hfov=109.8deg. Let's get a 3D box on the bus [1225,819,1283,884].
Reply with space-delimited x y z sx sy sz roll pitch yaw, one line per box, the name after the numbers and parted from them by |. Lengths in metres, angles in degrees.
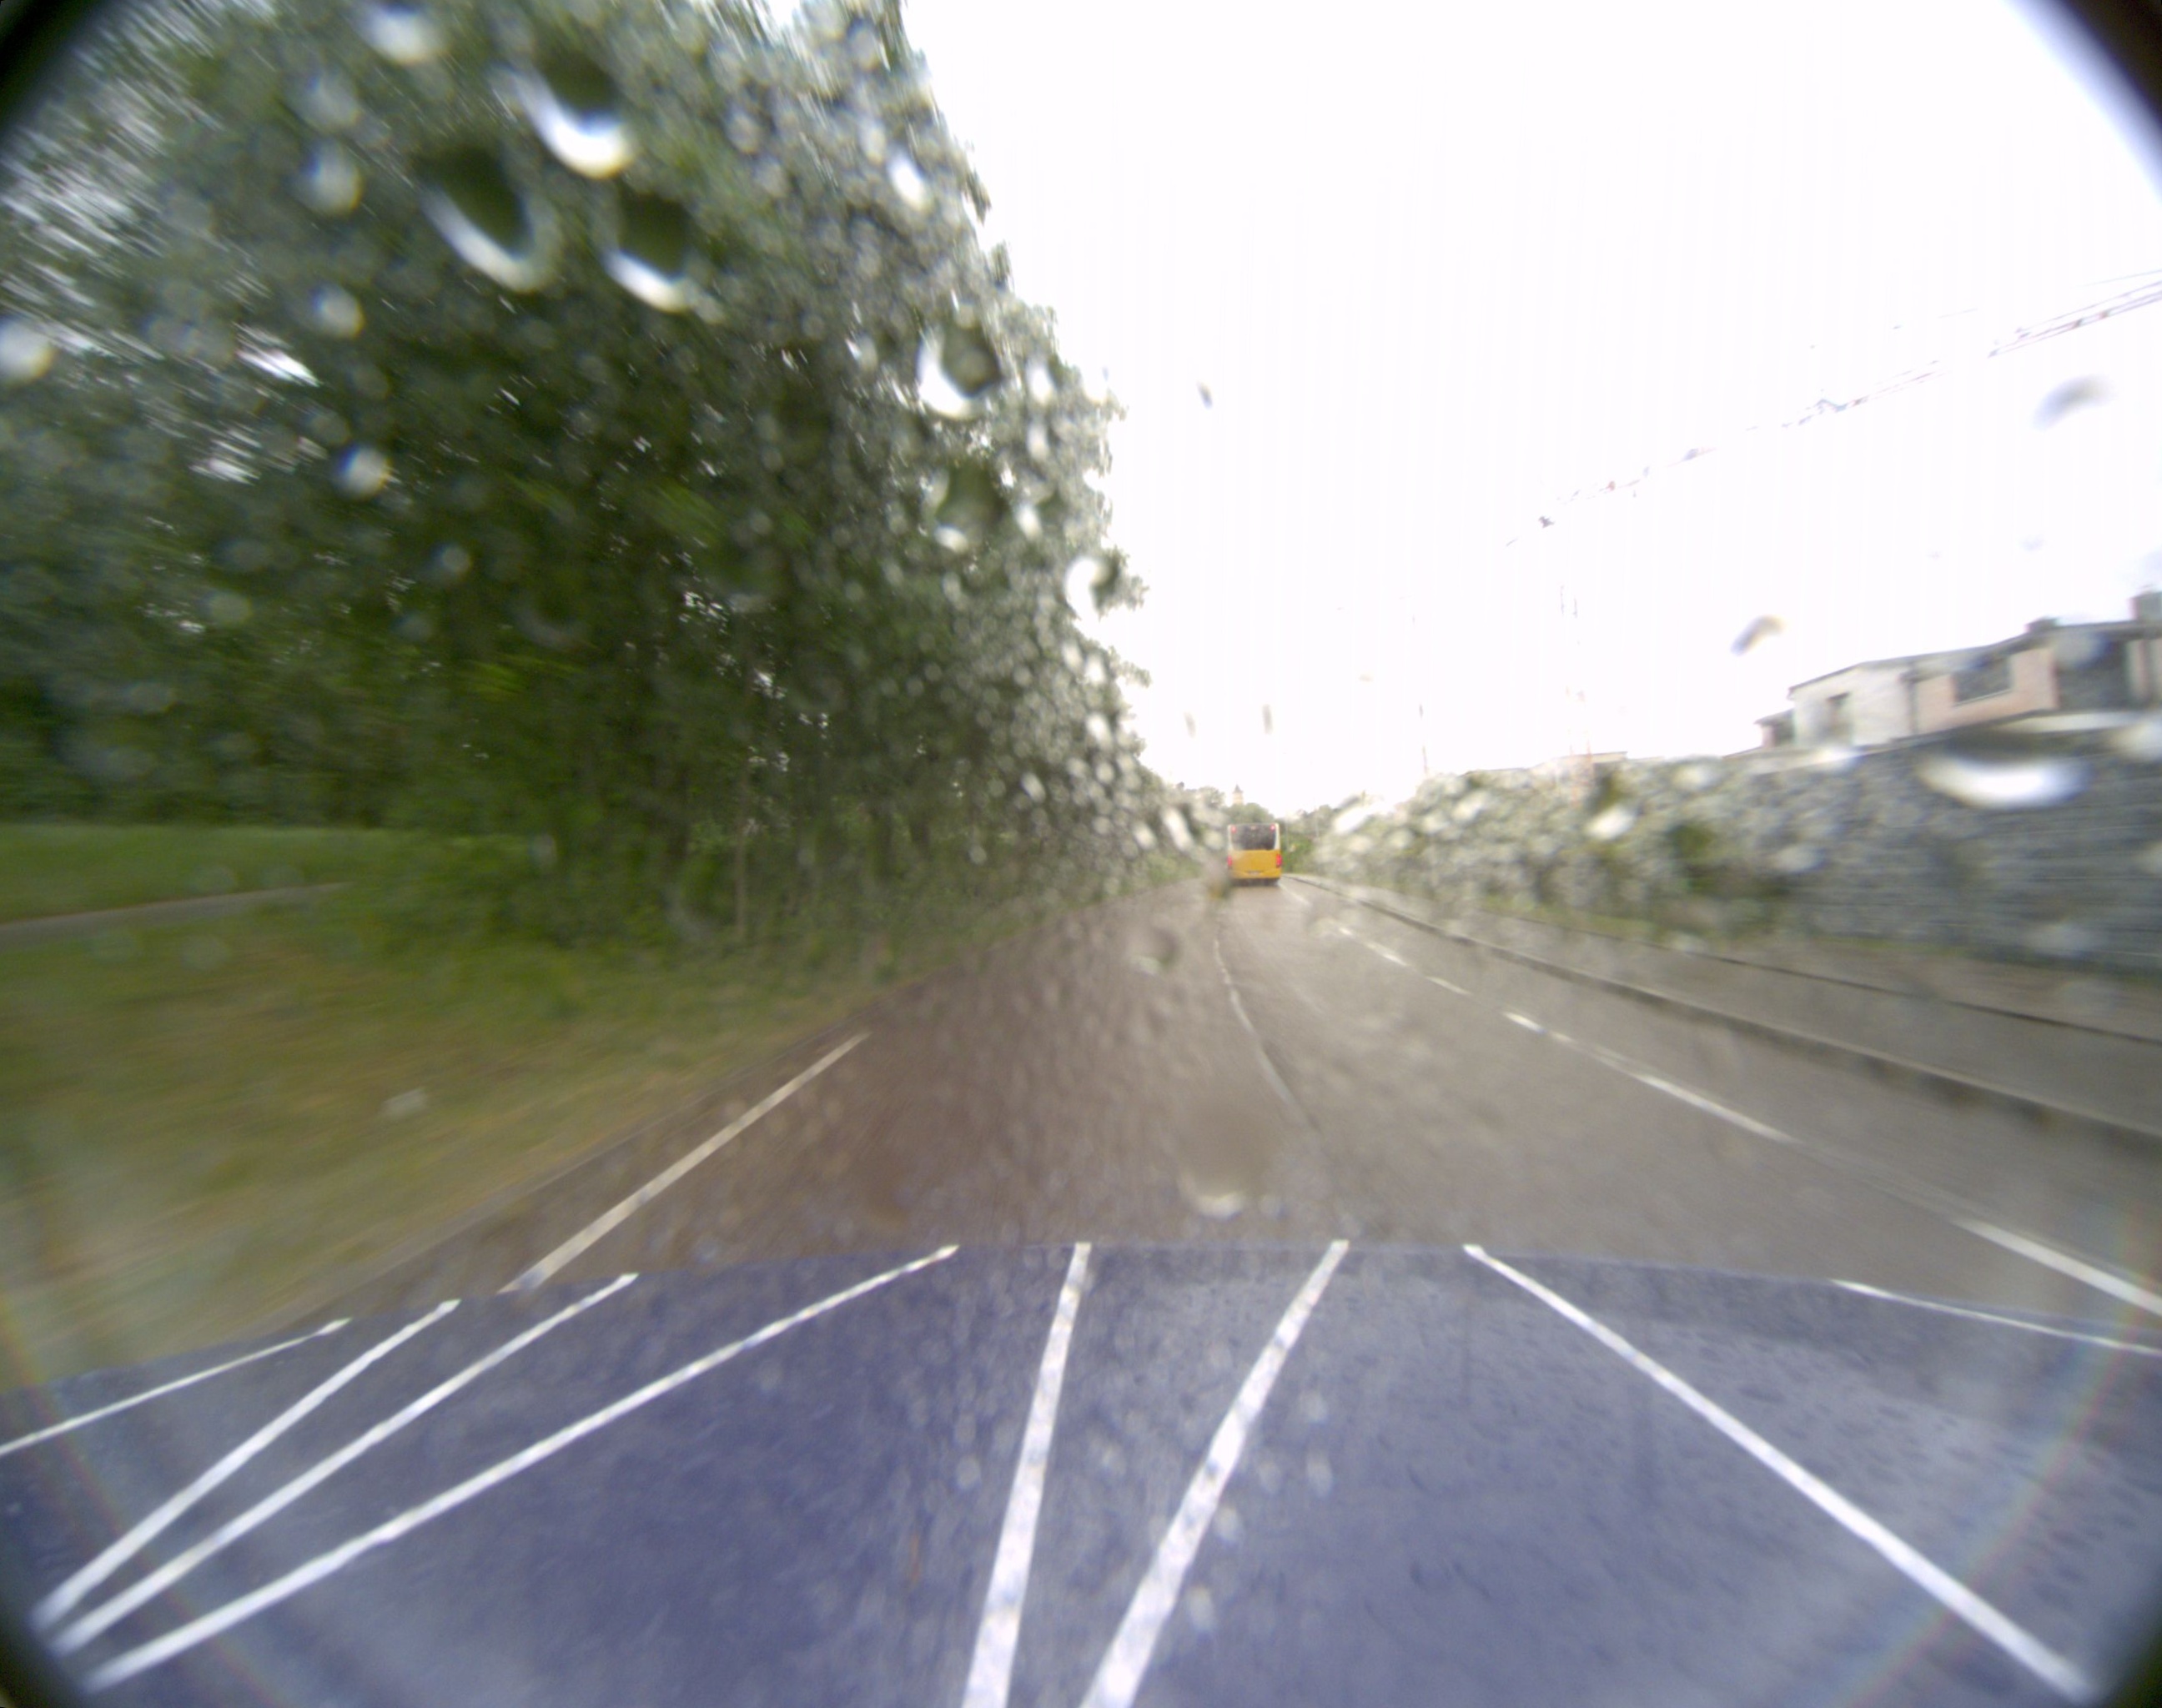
9.215 -0.139 40.688 2.644 3.014 7.672 -2 0 12 | bus
